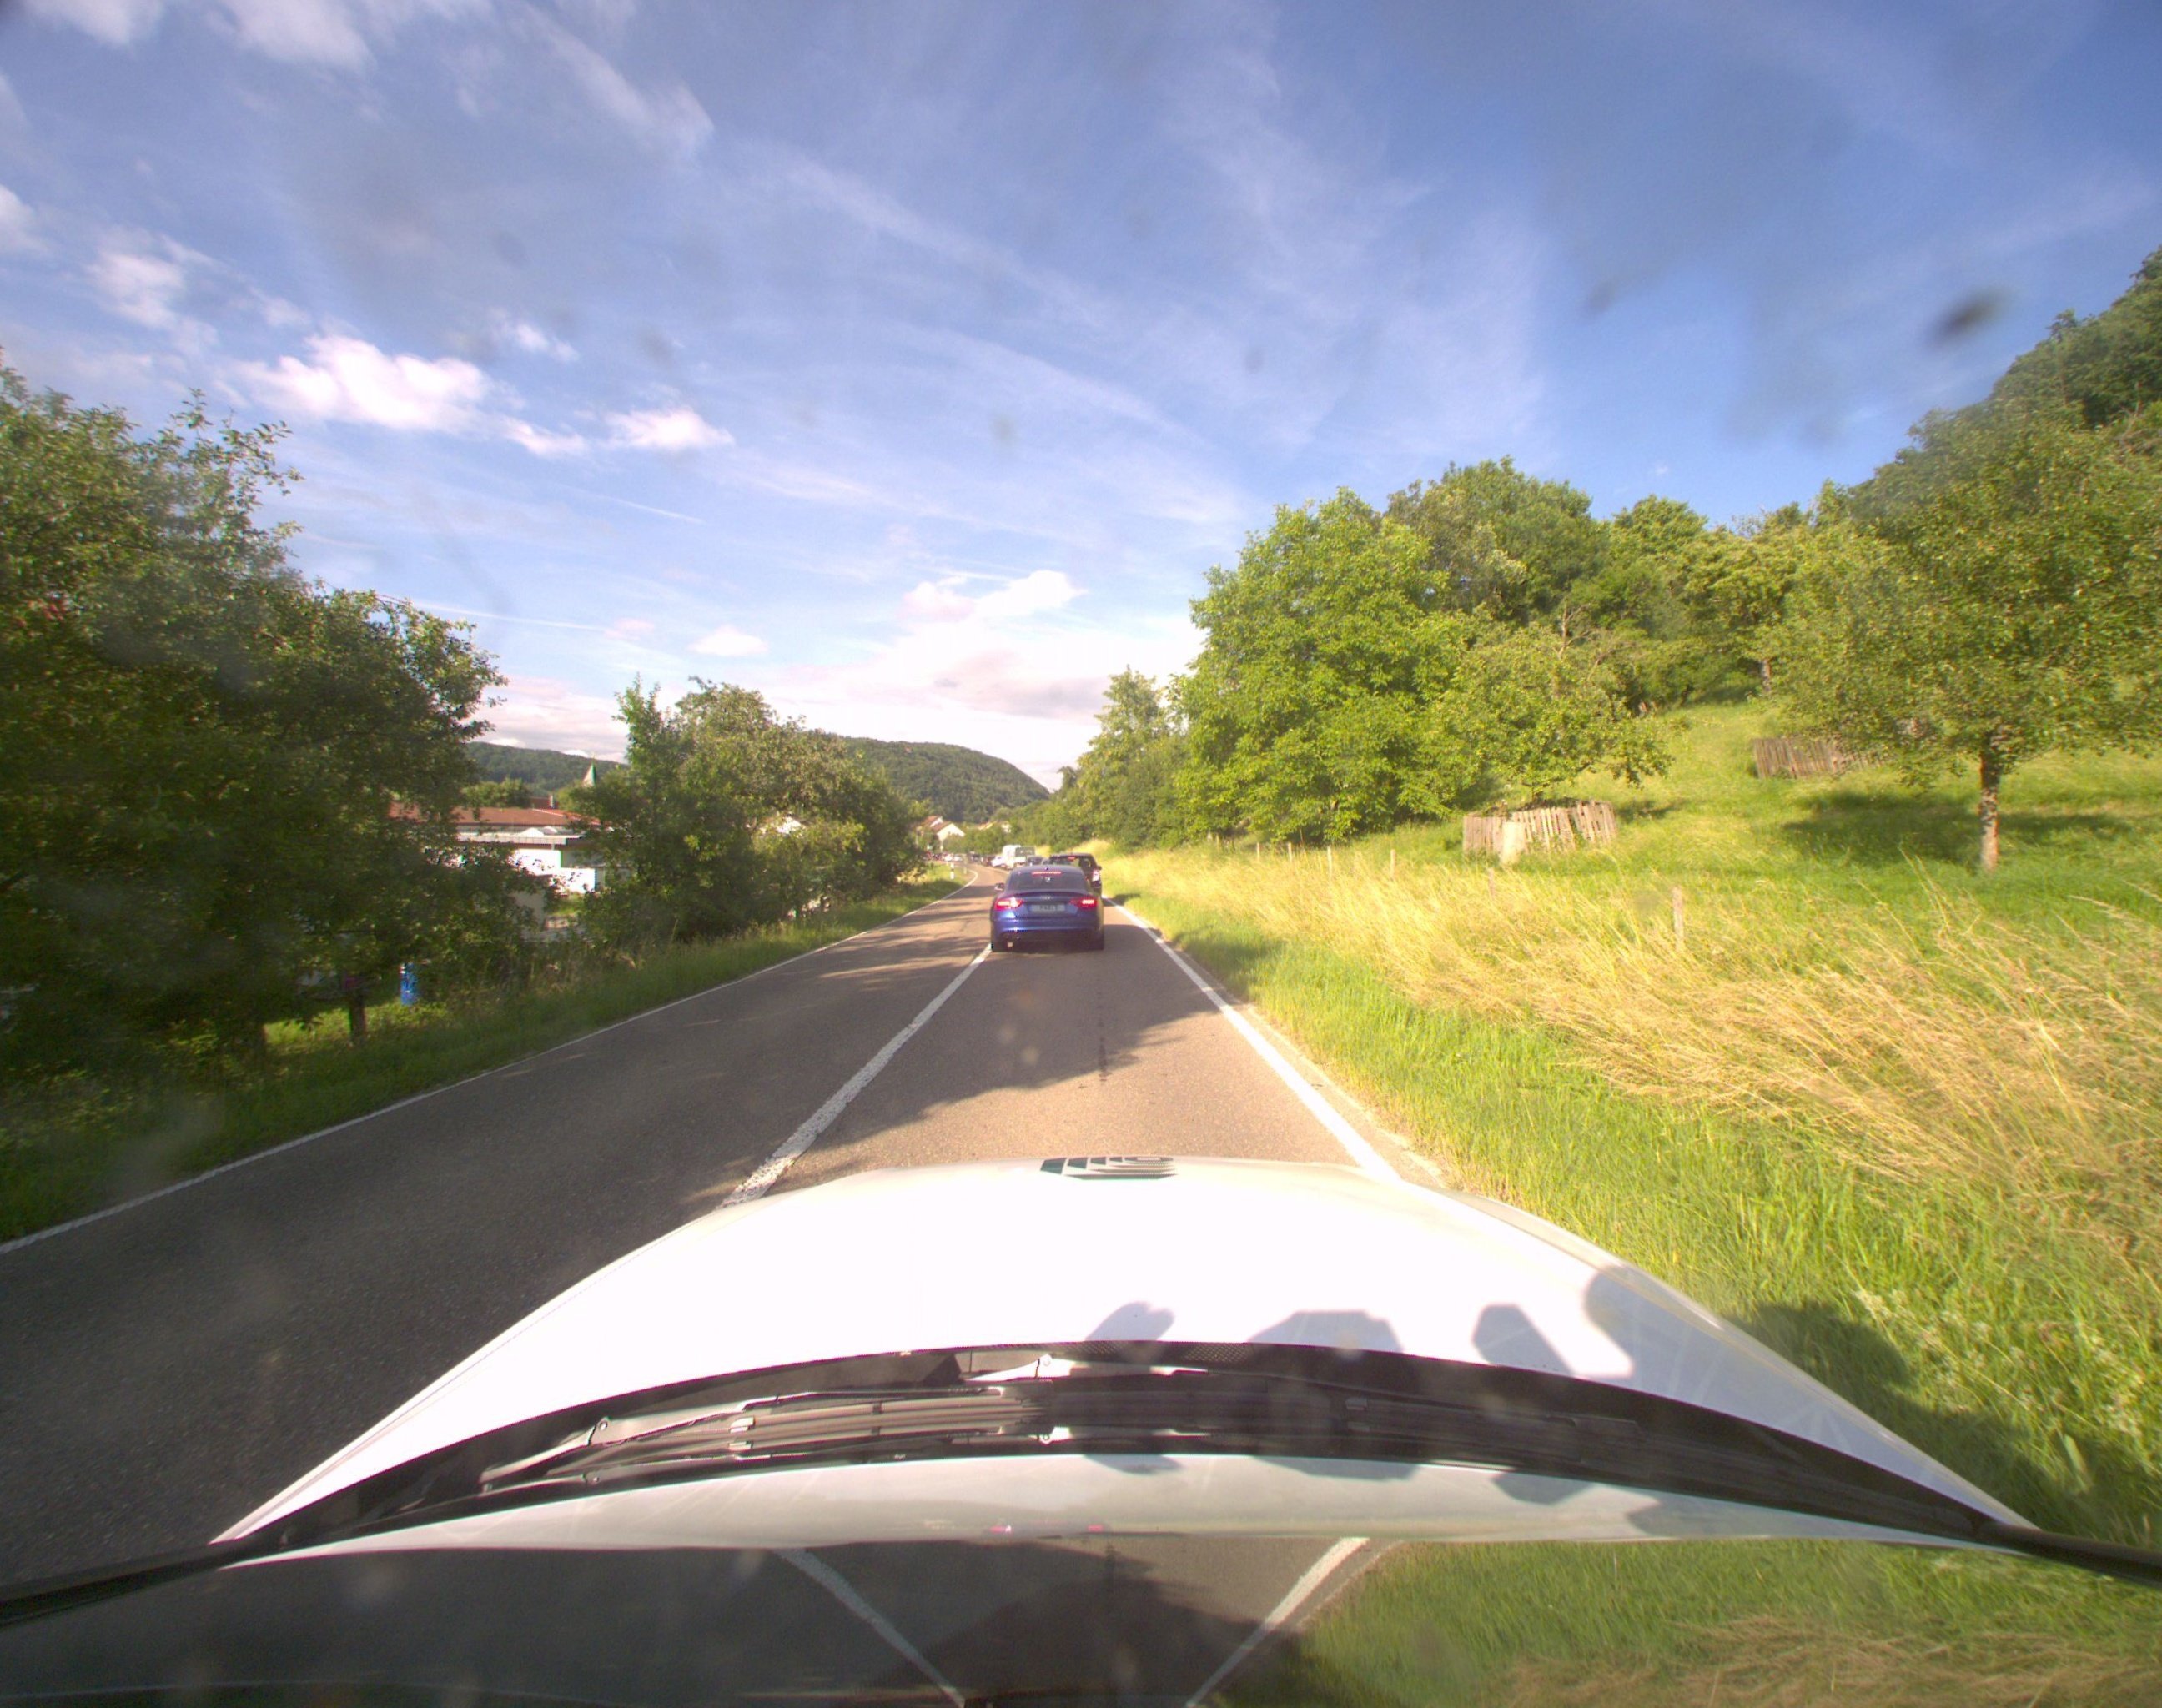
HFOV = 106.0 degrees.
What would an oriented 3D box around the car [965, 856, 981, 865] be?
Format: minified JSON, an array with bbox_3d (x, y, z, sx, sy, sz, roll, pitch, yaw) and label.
[{"bbox_3d":[-17.695,1.098,133.020,1.998,1.482,3.978,0,-1,-16],"label":"car"}]

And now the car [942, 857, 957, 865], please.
[{"bbox_3d":[-25.728,1.439,159.091,2.002,1.482,3.970,0,-1,-22],"label":"car"}]

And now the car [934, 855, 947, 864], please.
[{"bbox_3d":[-30.176,1.216,174.523,2.001,2.014,3.972,0,-1,-21],"label":"car"}]

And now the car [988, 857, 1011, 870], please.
[{"bbox_3d":[-10.106,1.192,100.939,2.000,1.482,3.973,0,-1,-20],"label":"car"}]

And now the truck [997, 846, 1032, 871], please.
[{"bbox_3d":[-7.602,0.495,91.215,2.865,2.665,10.606,-1,0,-10],"label":"truck"}]

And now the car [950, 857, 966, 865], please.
[{"bbox_3d":[-22.598,1.326,149.811,2.002,1.482,3.970,0,-1,-22],"label":"car"}]

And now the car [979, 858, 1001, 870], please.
[{"bbox_3d":[-12.104,1.312,108.069,2.000,1.482,3.973,0,-1,-20],"label":"car"}]

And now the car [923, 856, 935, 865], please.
[{"bbox_3d":[-35.184,1.596,188.249,2.001,2.014,3.972,0,-1,-21],"label":"car"}]

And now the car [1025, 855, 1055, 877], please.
[{"bbox_3d":[-2.881,0.813,56.338,1.990,1.482,3.993,-1,-1,-4],"label":"car"}]

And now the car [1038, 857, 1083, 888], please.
[{"bbox_3d":[-0.909,0.840,38.511,1.987,1.387,3.999,-1,-1,0],"label":"car"}]

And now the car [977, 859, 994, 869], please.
[{"bbox_3d":[-14.556,1.487,123.655,1.998,1.482,3.978,0,-1,-16],"label":"car"}]

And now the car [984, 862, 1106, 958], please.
[{"bbox_3d":[-0.487,0.850,14.154,1.787,1.360,4.001,-1,0,1],"label":"car"}]

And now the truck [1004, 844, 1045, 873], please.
[{"bbox_3d":[-5.654,0.437,80.024,2.865,2.665,10.355,-1,0,-10],"label":"truck"}]

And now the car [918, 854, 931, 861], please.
[{"bbox_3d":[-32.691,0.808,169.971,2.002,1.376,3.969,0,-1,-23],"label":"car"}]

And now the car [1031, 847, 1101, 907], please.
[{"bbox_3d":[-0.410,0.683,25.286,1.987,1.702,3.999,-1,-1,0],"label":"car"}]

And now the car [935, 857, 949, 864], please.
[{"bbox_3d":[-28.618,1.348,167.281,2.002,1.482,3.970,0,-1,-22],"label":"car"}]

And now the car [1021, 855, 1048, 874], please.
[{"bbox_3d":[-3.878,0.835,67.395,1.992,1.482,3.990,-1,-1,-7],"label":"car"}]
